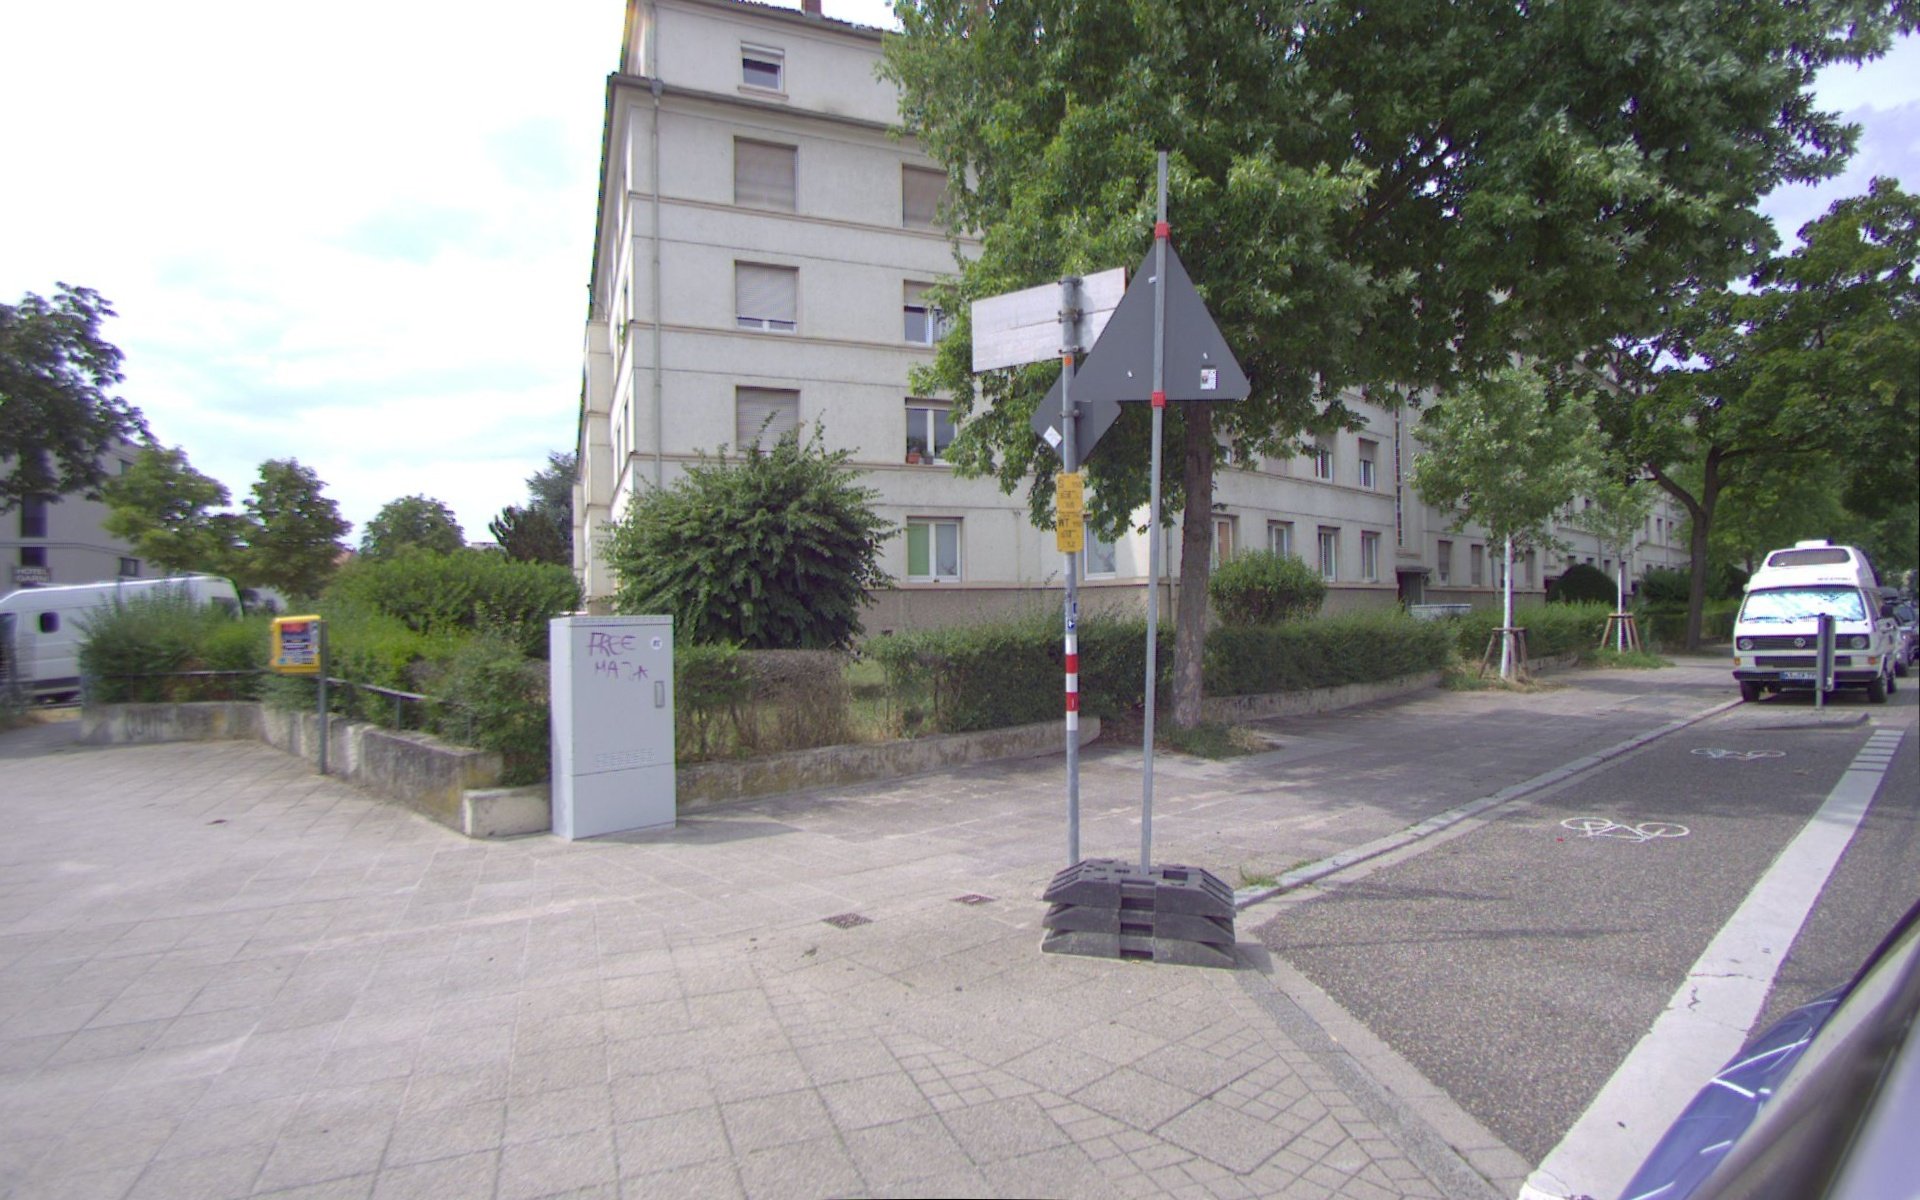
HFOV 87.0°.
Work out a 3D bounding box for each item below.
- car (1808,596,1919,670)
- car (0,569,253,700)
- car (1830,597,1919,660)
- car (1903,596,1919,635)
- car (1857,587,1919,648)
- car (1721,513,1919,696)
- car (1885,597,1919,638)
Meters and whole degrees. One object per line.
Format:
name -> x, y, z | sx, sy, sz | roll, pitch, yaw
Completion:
car -> 20.320, 0.689, 22.643 | 1.671, 1.469, 4.570 | -4, -2, 44
car -> -18.196, 0.739, 21.347 | 5.000, 2.485, 1.904 | -2, -3, -20
car -> 23.843, 0.723, 26.217 | 1.671, 1.473, 3.725 | -5, -3, 44
car -> 38.370, 0.576, 39.736 | 3.721, 1.472, 1.674 | -1, 1, -42
car -> 27.547, 0.460, 29.680 | 1.672, 1.697, 4.203 | 0, 1, 44
car -> 14.474, 0.085, 16.930 | 4.824, 2.636, 1.896 | -1, -3, -44
car -> 34.716, 0.608, 36.496 | 3.721, 1.418, 1.674 | -1, 1, -42
